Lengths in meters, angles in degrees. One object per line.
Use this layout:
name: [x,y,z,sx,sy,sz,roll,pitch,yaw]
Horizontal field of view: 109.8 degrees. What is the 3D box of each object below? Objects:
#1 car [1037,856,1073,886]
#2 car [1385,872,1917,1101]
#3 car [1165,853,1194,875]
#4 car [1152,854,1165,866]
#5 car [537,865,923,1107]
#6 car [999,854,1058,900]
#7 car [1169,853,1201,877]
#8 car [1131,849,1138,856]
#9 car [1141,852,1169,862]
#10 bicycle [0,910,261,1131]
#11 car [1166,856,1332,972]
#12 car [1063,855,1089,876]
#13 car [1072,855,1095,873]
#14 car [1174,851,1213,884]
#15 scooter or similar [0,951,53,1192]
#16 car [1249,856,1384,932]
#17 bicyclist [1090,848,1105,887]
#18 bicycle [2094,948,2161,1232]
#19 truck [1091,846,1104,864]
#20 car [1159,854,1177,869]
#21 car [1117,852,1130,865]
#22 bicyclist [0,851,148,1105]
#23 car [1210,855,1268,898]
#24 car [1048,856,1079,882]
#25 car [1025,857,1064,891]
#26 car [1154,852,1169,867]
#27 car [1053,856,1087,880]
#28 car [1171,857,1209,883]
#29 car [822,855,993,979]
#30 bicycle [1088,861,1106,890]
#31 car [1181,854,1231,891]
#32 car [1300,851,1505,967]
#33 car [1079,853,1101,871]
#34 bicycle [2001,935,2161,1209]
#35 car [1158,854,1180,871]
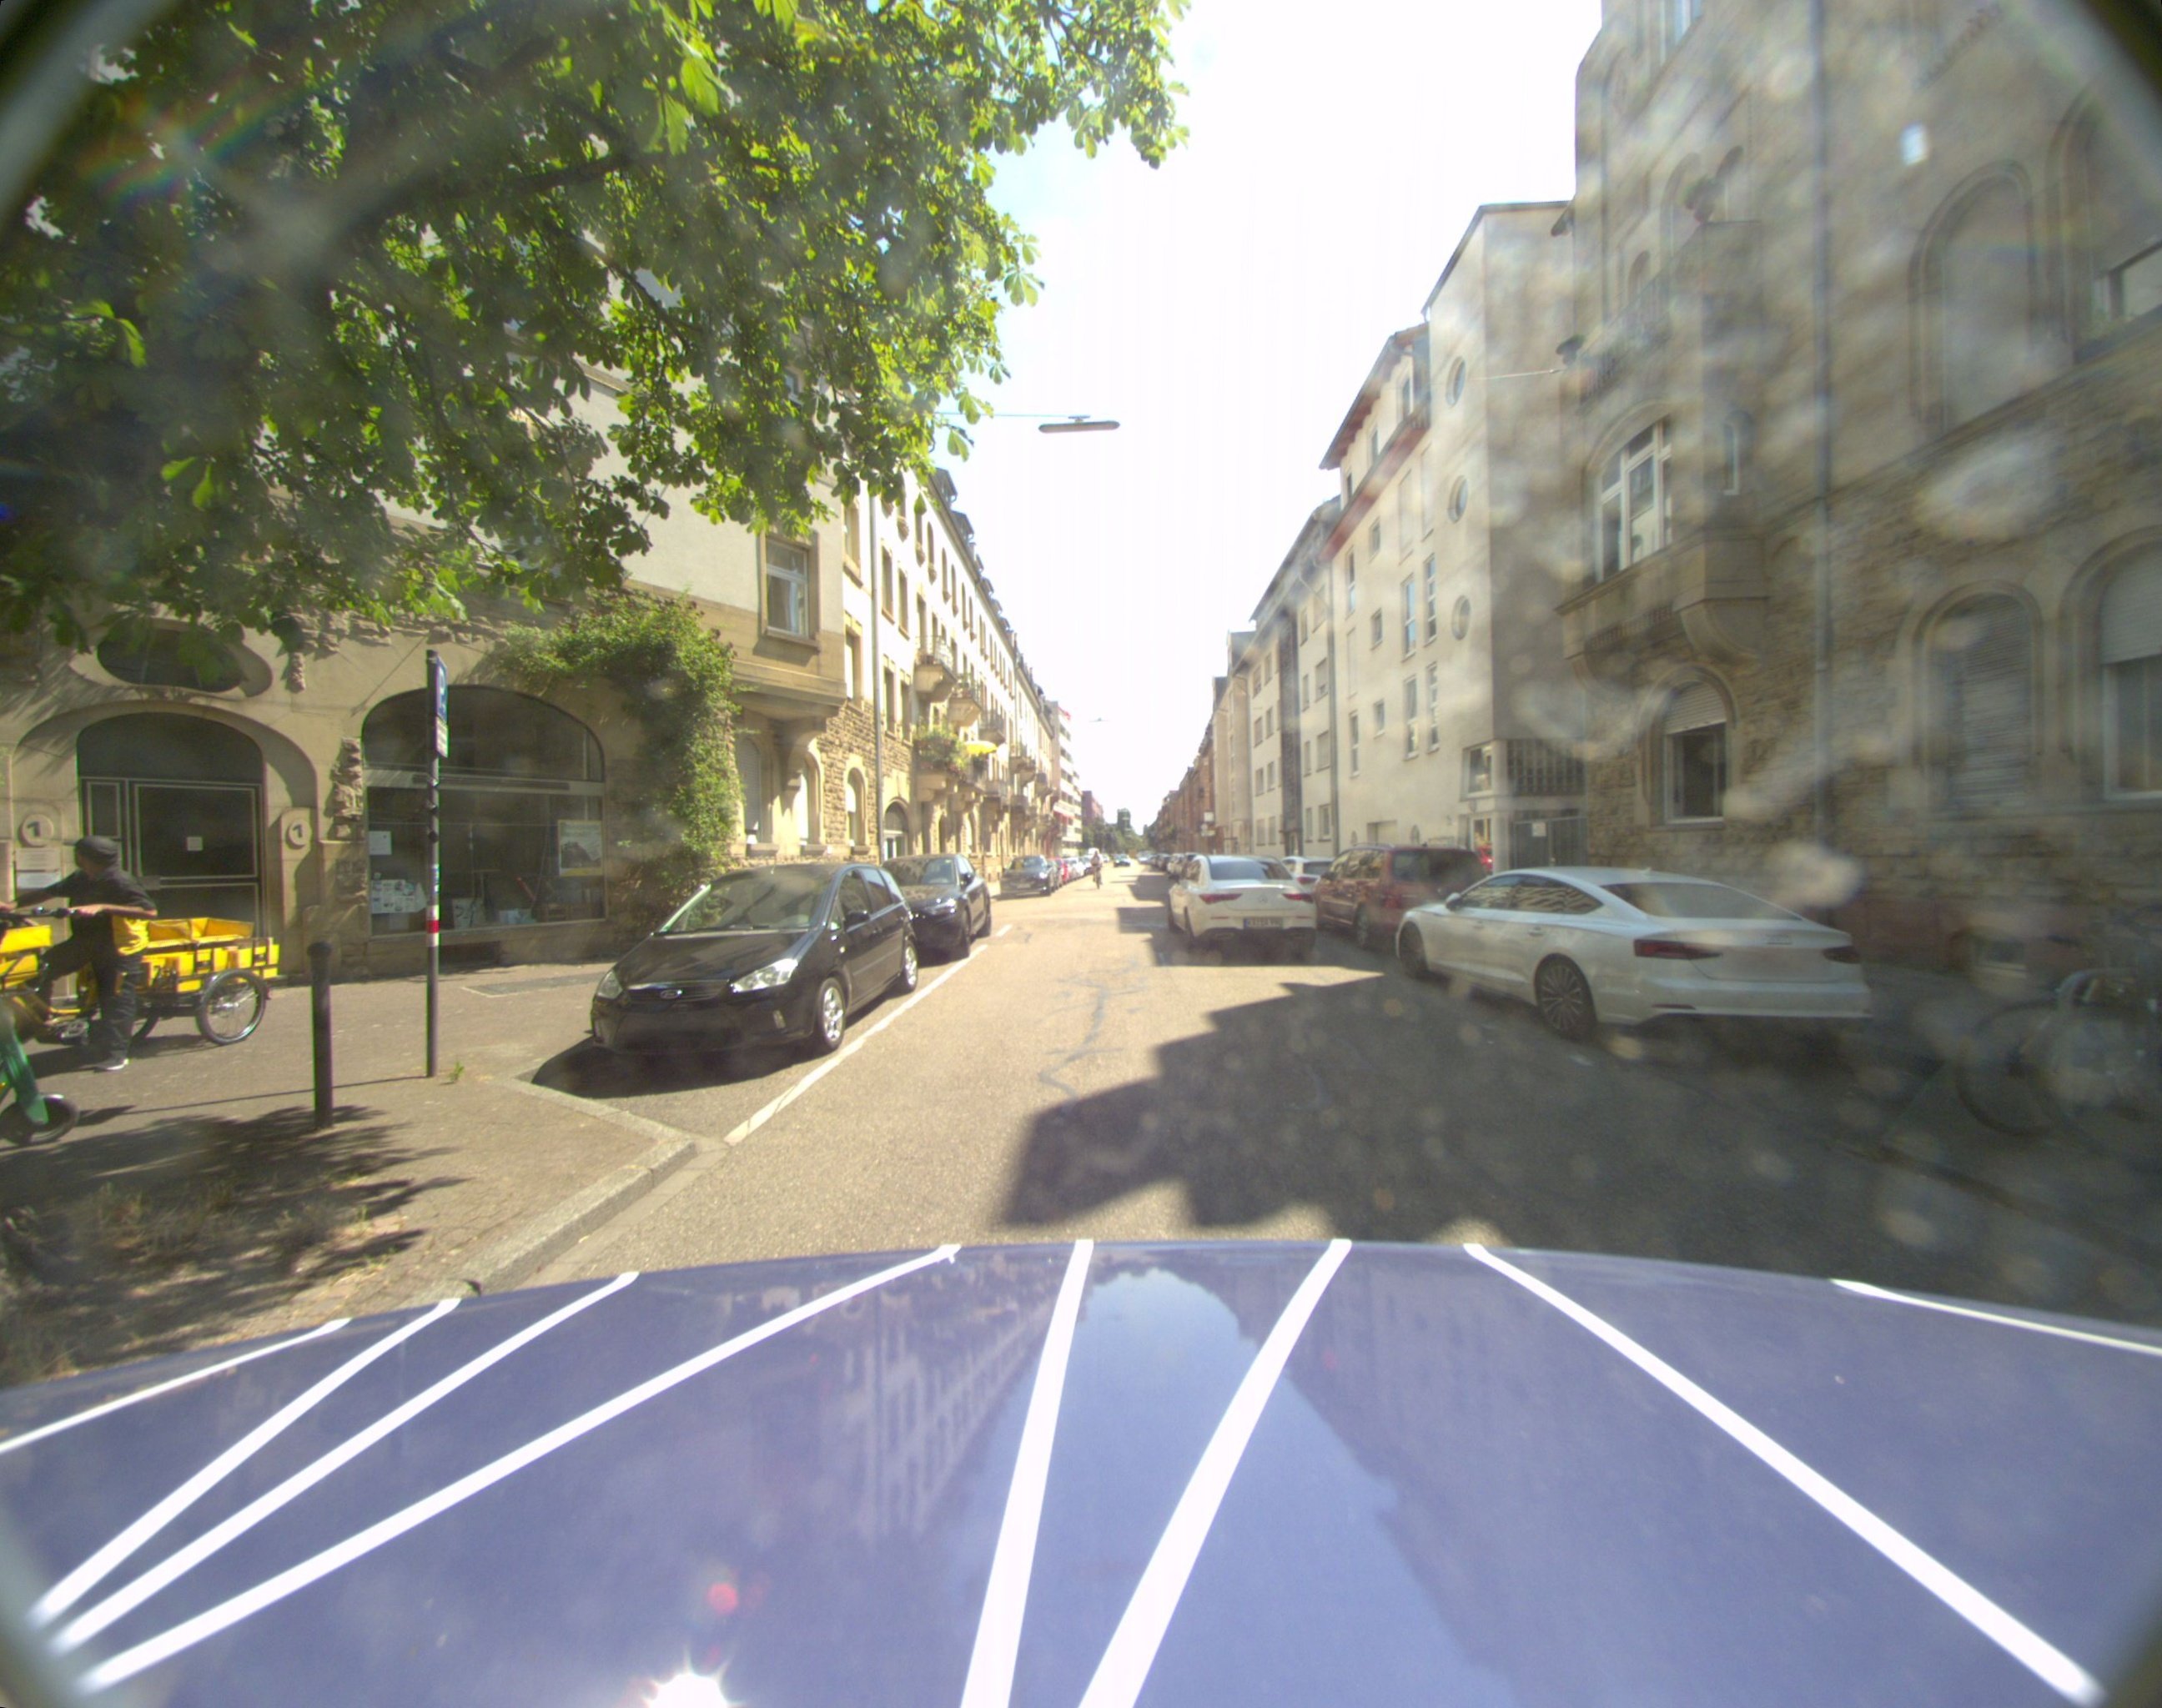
car: [-1.372,0.891,41.951,1.574,1.444,3.843,-3,0,3]
car: [4.690,0.936,7.310,1.706,1.345,4.515,1,1,0]
car: [7.660,0.742,59.227,1.632,1.540,3.853,3,1,0]
car: [9.781,0.693,95.534,1.449,1.391,3.526,3,1,4]
car: [-2.886,0.956,7.393,1.667,1.531,4.178,-3,0,1]
car: [-1.992,0.853,30.320,1.837,1.558,4.605,-3,0,1]
car: [7.109,0.696,52.224,1.734,1.486,4.349,2,1,2]
car: [14.746,-0.413,209.781,1.784,2.002,4.002,-1,0,6]
car: [10.915,0.412,112.294,3.995,1.422,1.678,0,1,4]
bicycle: [-7.285,1.088,5.456,0.797,1.162,2.573,-1,1,-20]
car: [2.455,0.792,12.212,1.845,1.452,4.362,1,1,2]
car: [-0.341,0.851,57.930,1.740,1.449,4.669,0,1,3]
car: [0.215,0.817,63.870,1.828,1.423,4.489,-2,0,1]
car: [5.933,0.663,40.369,1.607,1.634,3.977,1,1,2]
scooter or similar: [-5.738,1.091,3.476,0.442,1.130,1.188,0,1,39]
car: [5.228,0.807,17.494,1.781,1.451,4.278,1,1,1]
bicyclist: [0.717,0.583,33.005,0.644,1.640,0.622,0,1,4]
bicycle: [5.132,0.914,3.074,1.707,1.094,0.292,-3,1,-1]
truck: [2.584,0.141,120.759,1.869,2.715,4.508,0,1,4]
car: [8.573,0.725,75.215,1.632,1.421,3.679,3,1,5]
car: [5.330,0.565,94.833,1.624,1.600,3.598,0,1,3]
bicyclist: [-7.147,0.802,5.202,0.680,1.638,0.660,-1,1,-20]
car: [6.030,0.812,29.396,1.571,1.483,3.894,1,1,2]
car: [-1.039,0.906,47.008,1.593,1.444,3.856,-3,0,2]
car: [-1.678,0.914,36.080,1.516,1.390,3.972,-3,0,1]
car: [9.578,0.604,90.600,1.449,1.633,3.526,3,1,3]
car: [-0.706,0.912,52.400,1.720,1.444,4.598,-3,0,5]
car: [6.481,0.919,45.613,1.769,1.385,4.349,1,1,2]
car: [-2.643,0.873,12.638,1.740,1.587,4.347,-3,0,0]
bicycle: [0.703,0.921,32.941,0.671,1.169,2.095,0,1,4]
car: [5.666,0.773,34.875,1.660,1.510,4.671,1,1,2]
car: [5.039,0.753,12.563,1.676,1.574,4.052,1,1,1]
car: [0.916,0.758,74.532,1.651,1.613,4.094,0,1,7]
bicycle: [5.118,0.918,3.385,1.707,1.094,0.292,-3,1,-1]
car: [8.080,0.798,69.896,1.781,1.421,3.838,3,1,5]
